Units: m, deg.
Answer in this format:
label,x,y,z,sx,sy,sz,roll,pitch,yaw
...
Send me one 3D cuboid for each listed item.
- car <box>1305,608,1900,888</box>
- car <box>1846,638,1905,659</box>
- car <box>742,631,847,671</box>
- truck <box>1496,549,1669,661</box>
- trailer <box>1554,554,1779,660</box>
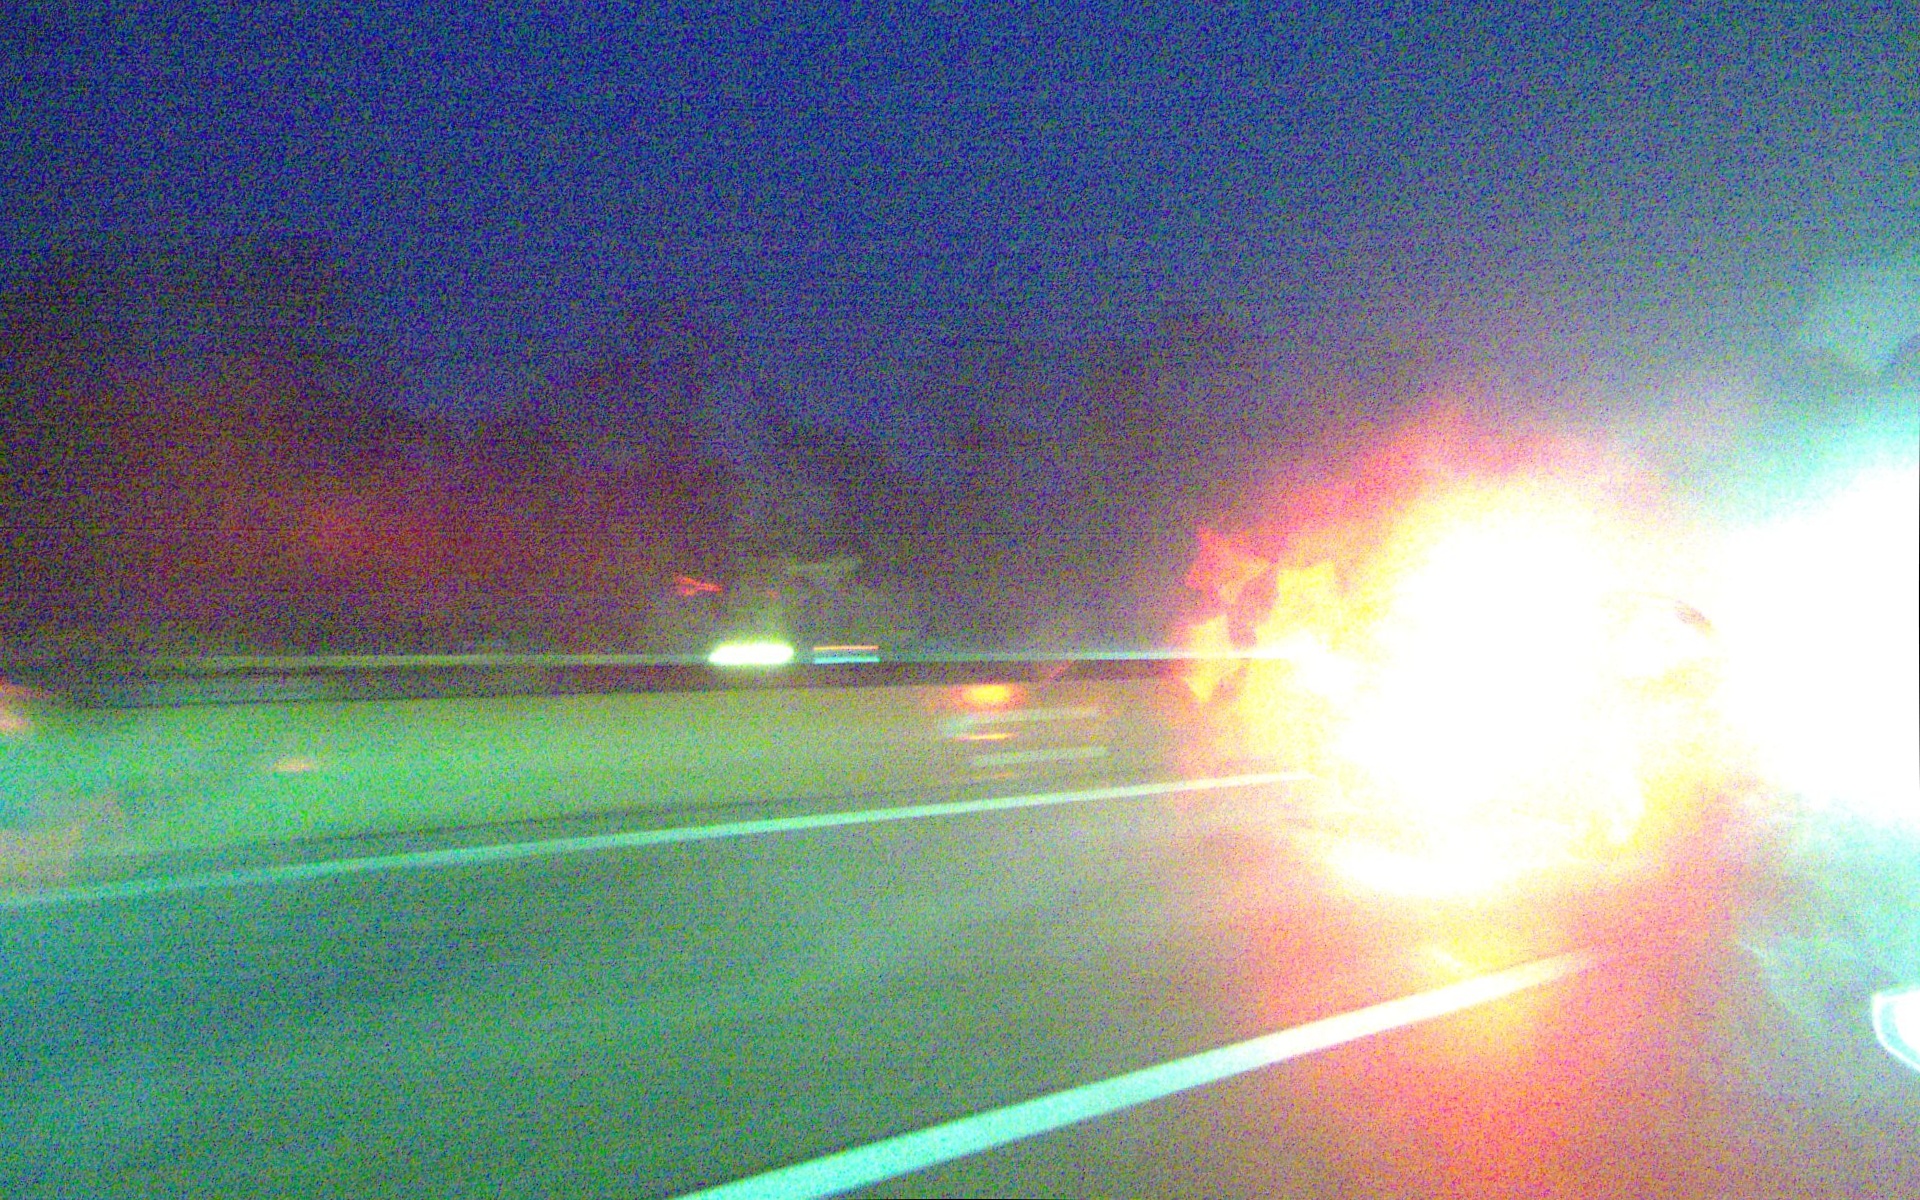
label,x,y,z,sx,sy,sz,roll,pitch,yaw
car,4.988,0.849,7.633,4.693,1.561,1.850,0,0,-29
car,62.432,3.305,68.486,4.538,1.395,1.553,2,-4,-29
car,-5.578,1.742,33.865,3.191,1.301,1.491,2,-4,-28
truck,23.006,0.327,37.084,6.379,3.808,2.684,2,-4,-31
trailer,28.664,0.490,40.453,11.881,3.797,2.684,2,-4,-31
